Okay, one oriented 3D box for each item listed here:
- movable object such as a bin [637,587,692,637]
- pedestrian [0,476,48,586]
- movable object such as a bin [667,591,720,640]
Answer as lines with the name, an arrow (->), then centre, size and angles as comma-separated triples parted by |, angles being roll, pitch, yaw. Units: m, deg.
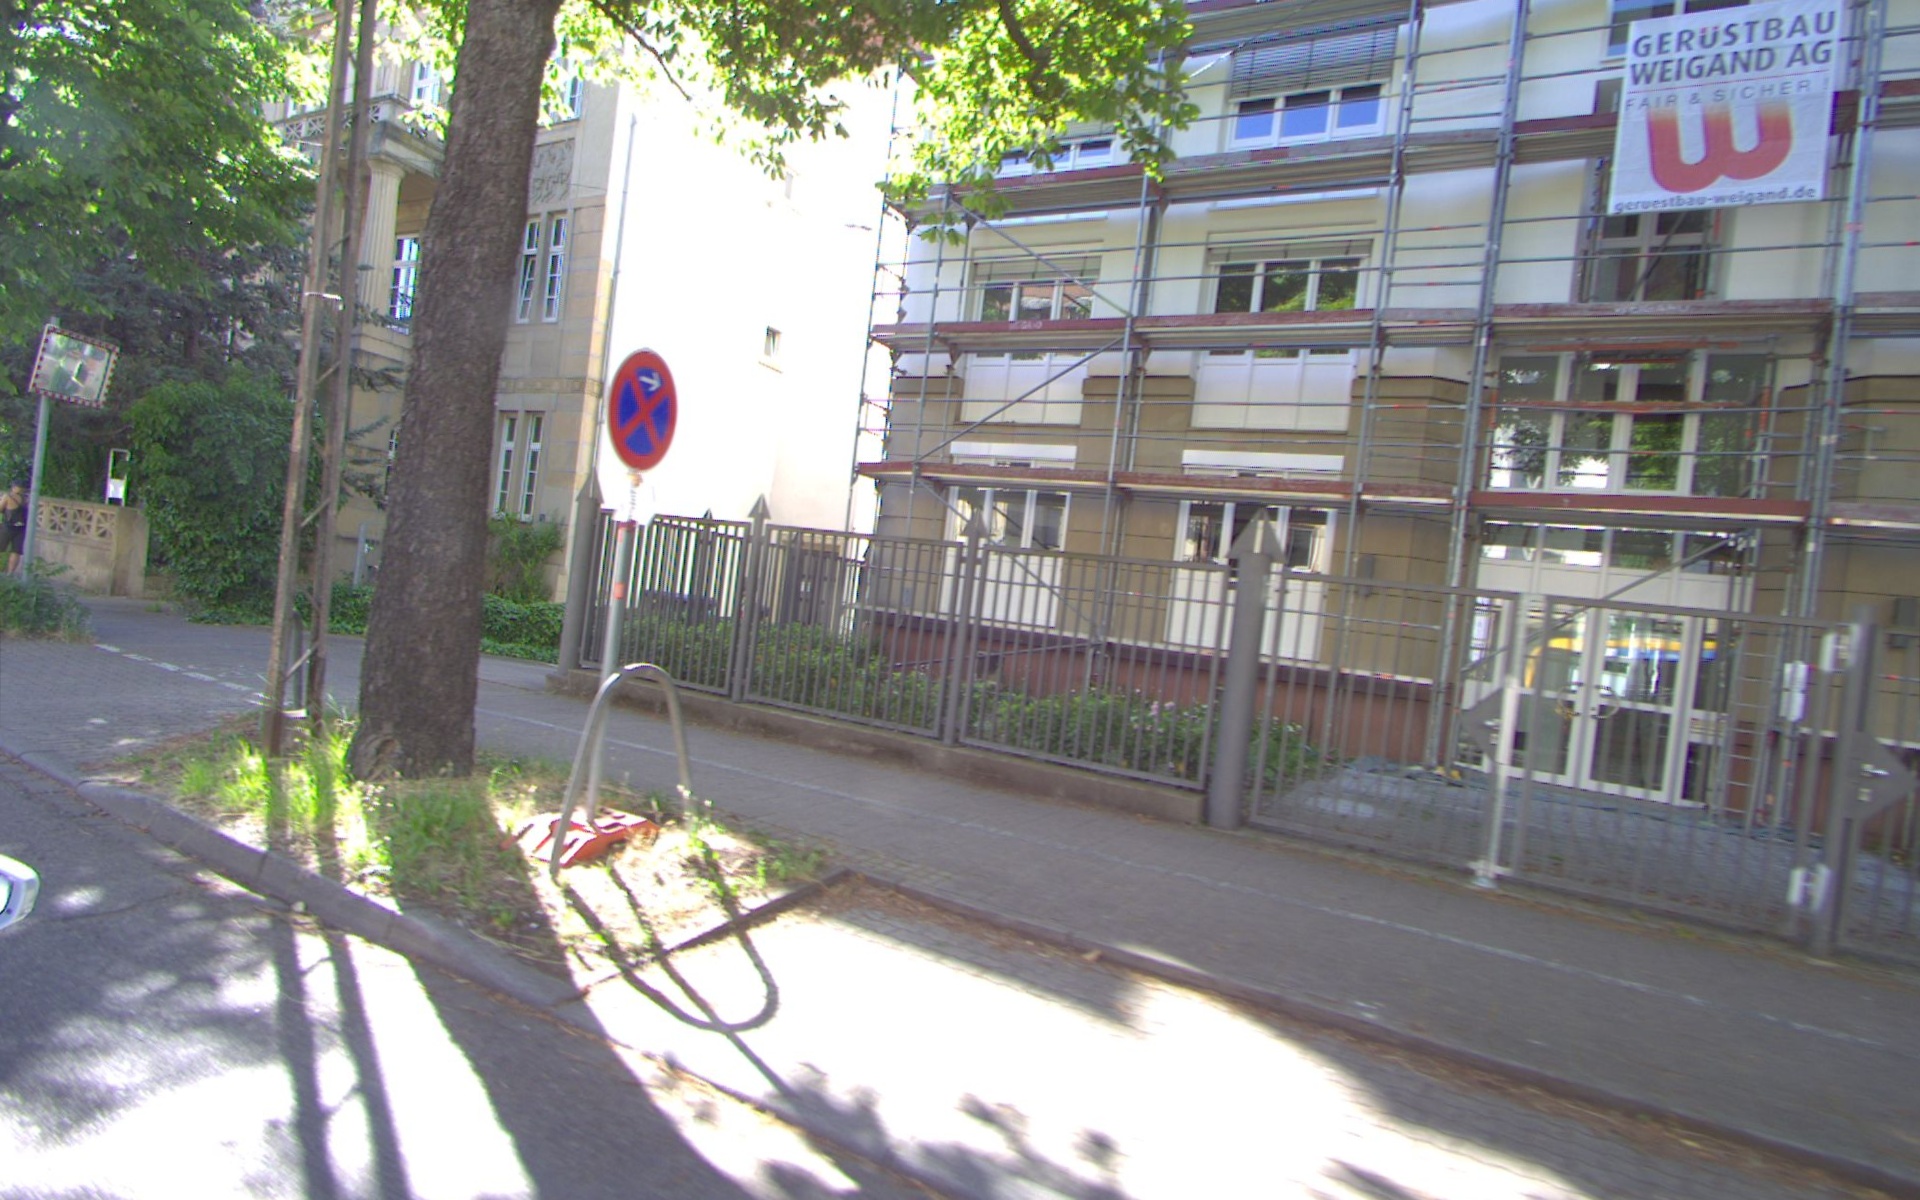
movable object such as a bin -> -6.363, 0.265, 21.708 | 0.637, 0.966, 0.836 | 6, -2, 30
pedestrian -> -15.336, -1.119, 16.292 | 0.636, 1.693, 0.592 | 6, 1, 31
movable object such as a bin -> -5.953, 0.349, 22.472 | 0.637, 0.966, 0.836 | 6, -2, 30
